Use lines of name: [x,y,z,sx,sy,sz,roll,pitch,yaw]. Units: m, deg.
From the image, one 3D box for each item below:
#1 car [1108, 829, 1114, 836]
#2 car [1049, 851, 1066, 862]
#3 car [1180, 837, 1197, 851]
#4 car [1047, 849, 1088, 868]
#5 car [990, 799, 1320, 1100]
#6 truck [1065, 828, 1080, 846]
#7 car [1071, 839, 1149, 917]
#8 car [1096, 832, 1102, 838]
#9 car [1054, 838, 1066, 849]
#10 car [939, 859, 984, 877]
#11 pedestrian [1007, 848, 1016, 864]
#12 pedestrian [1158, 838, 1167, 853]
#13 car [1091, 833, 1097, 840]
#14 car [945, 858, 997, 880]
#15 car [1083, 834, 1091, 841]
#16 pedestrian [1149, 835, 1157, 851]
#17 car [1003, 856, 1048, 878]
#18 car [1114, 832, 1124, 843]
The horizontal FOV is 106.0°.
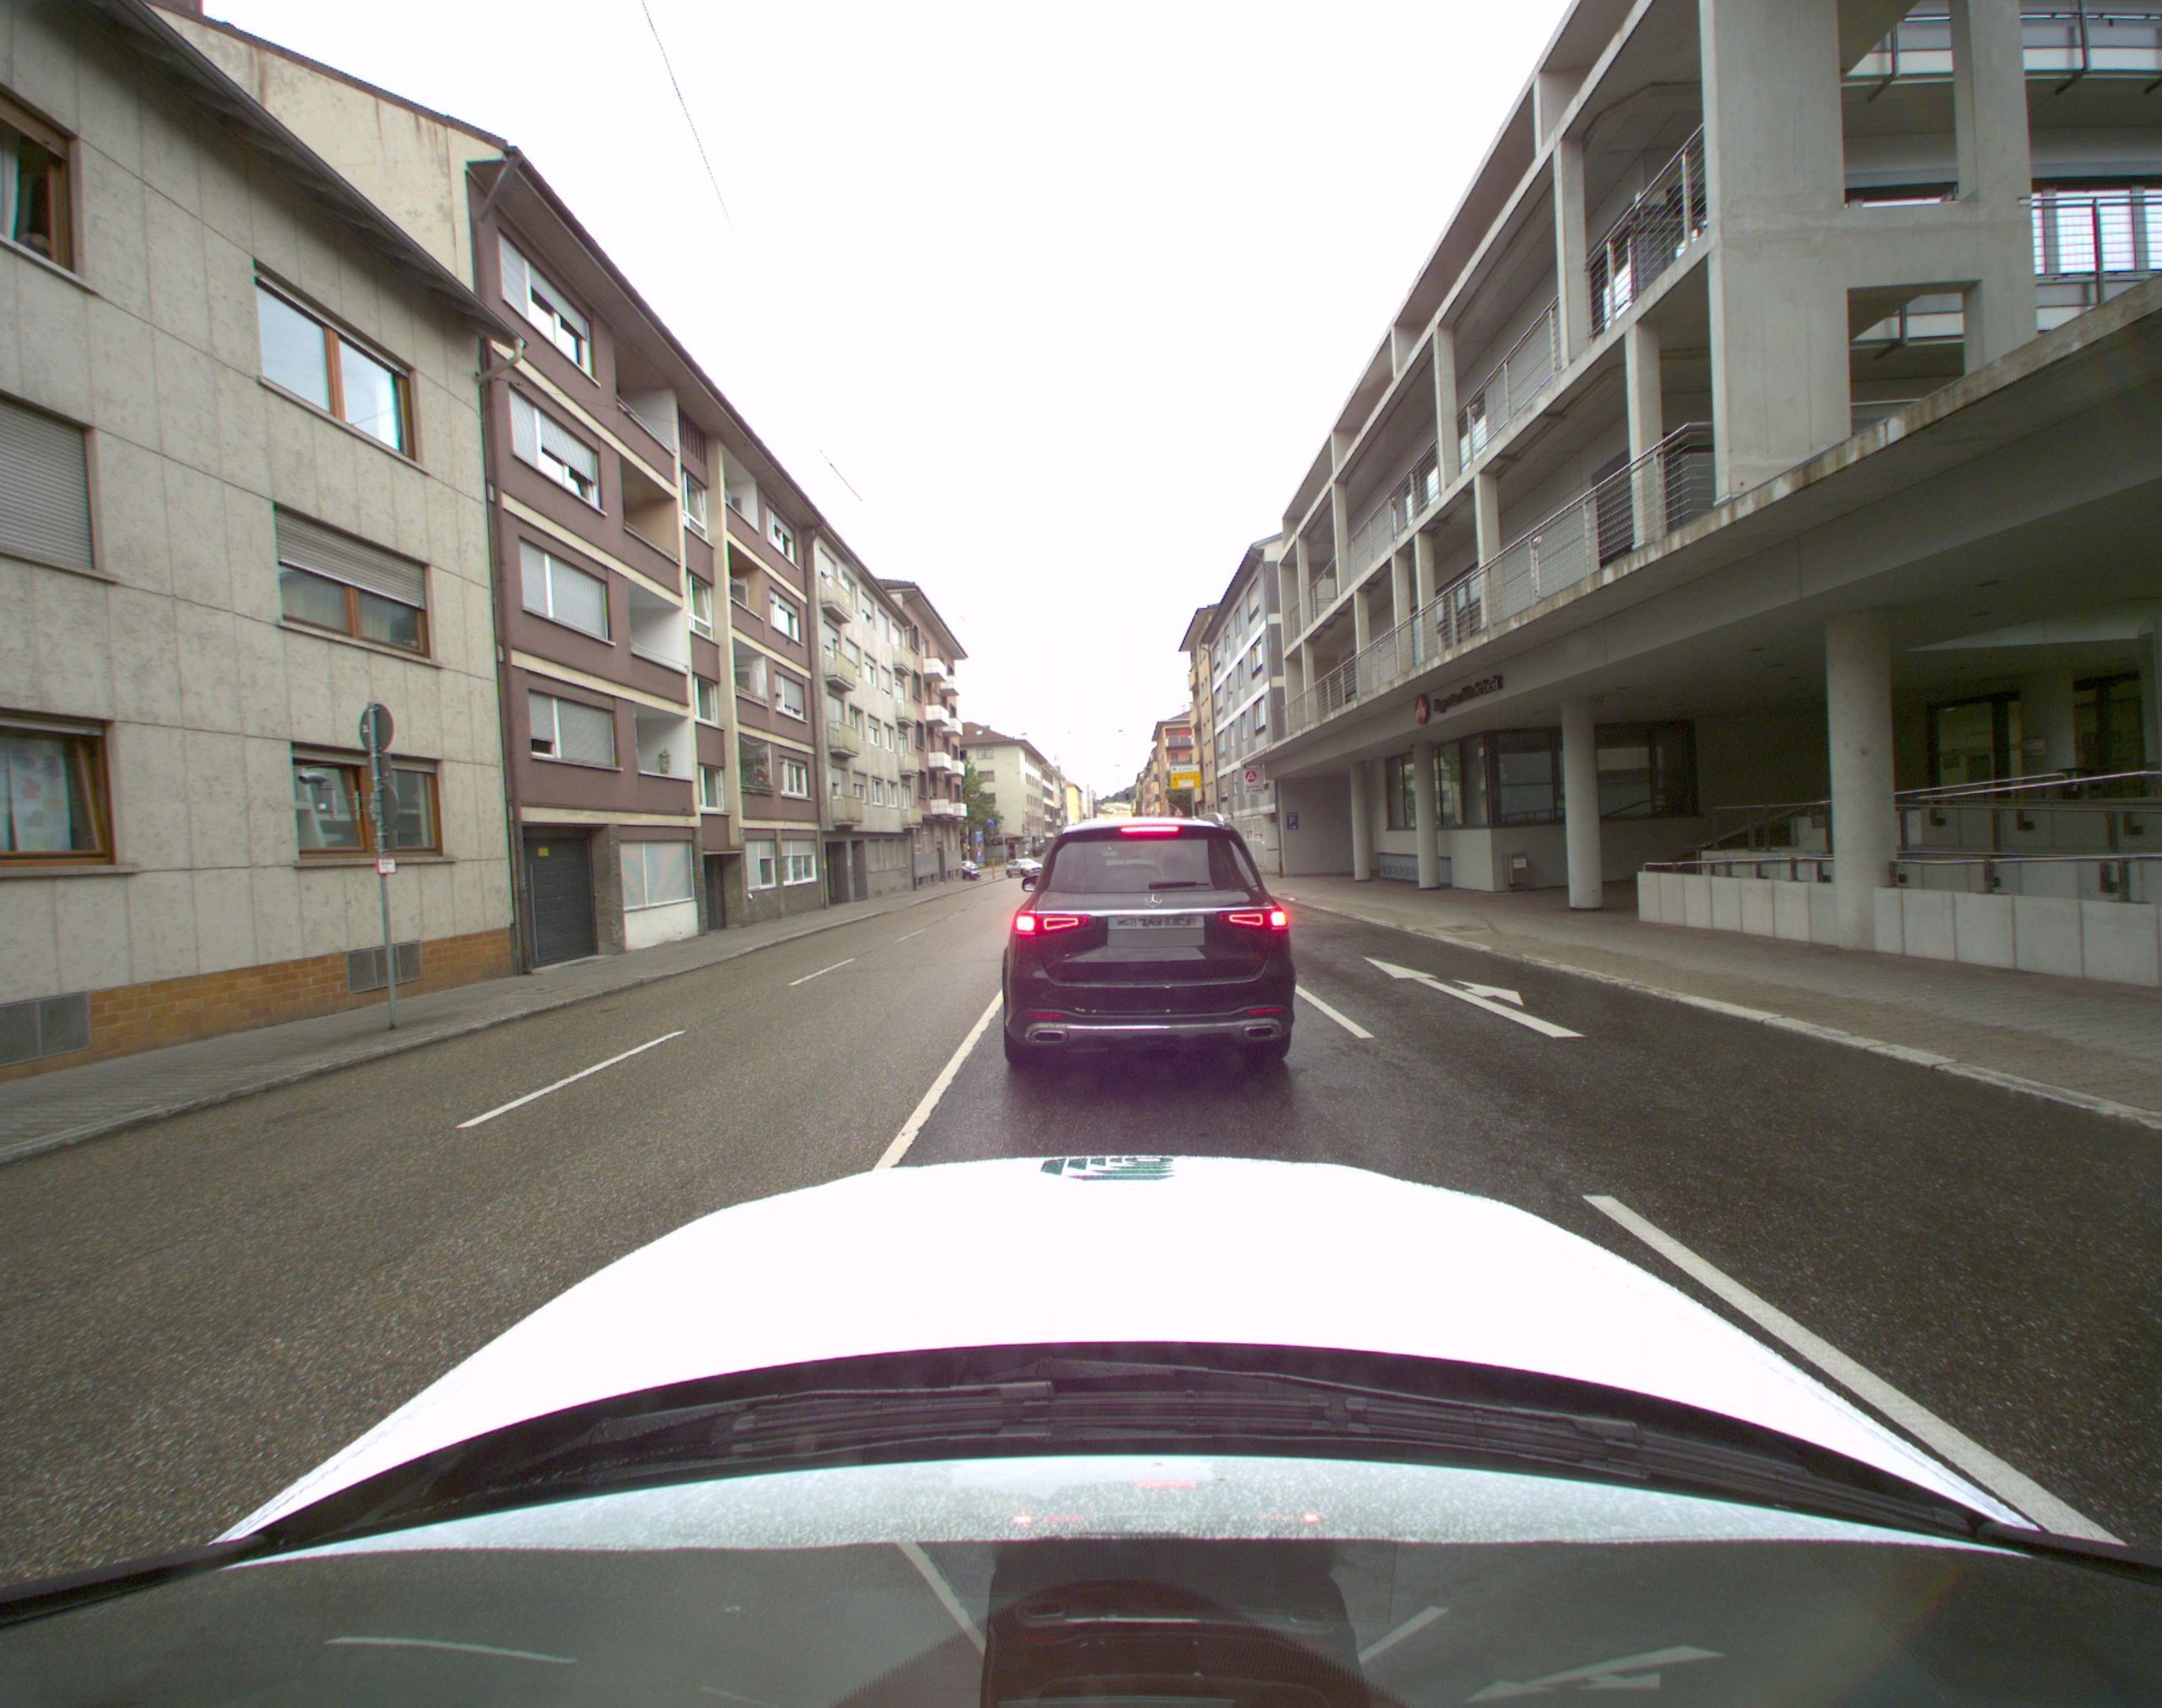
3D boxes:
car: [8.565,-6.164,233.932,1.613,1.539,4.216,-4,-1,0]
car: [-2.901,0.314,101.079,1.879,1.264,4.216,-4,-1,0]
car: [12.486,-1.159,94.515,1.664,1.588,3.334,-3,0,4]
car: [-1.318,0.474,78.303,1.828,1.539,4.173,-4,-1,-34]
car: [0.514,0.597,7.114,1.977,1.805,4.391,0,-1,2]
truck: [-1.587,-3.169,157.348,2.472,3.046,9.917,-4,-1,0]
car: [0.665,0.584,21.038,1.746,1.731,4.216,-3,-1,0]
car: [5.601,-5.925,250.309,1.613,1.539,4.216,-4,-1,0]
car: [-3.377,-1.706,131.925,1.613,1.539,4.216,-4,-1,0]
car: [-12.318,1.421,83.735,4.168,1.539,1.632,-5,-1,20]
pedestrian: [-8.751,0.258,102.390,0.920,1.902,0.706,-3,0,0]
pedestrian: [10.016,-1.085,100.070,0.920,1.804,0.706,-3,0,0]
car: [3.481,-4.630,219.517,1.613,1.539,4.216,-4,-1,0]
car: [-9.907,1.320,73.161,4.360,1.706,1.990,-3,0,-15]
car: [1.467,-3.944,193.948,1.613,1.539,4.216,-4,-1,0]
pedestrian: [9.426,-1.388,106.434,0.920,2.013,0.706,-3,0,0]
car: [-4.659,1.075,67.842,1.785,1.539,4.312,-4,-1,-34]
car: [7.271,-3.095,155.828,1.718,1.759,4.216,-4,-1,0]
